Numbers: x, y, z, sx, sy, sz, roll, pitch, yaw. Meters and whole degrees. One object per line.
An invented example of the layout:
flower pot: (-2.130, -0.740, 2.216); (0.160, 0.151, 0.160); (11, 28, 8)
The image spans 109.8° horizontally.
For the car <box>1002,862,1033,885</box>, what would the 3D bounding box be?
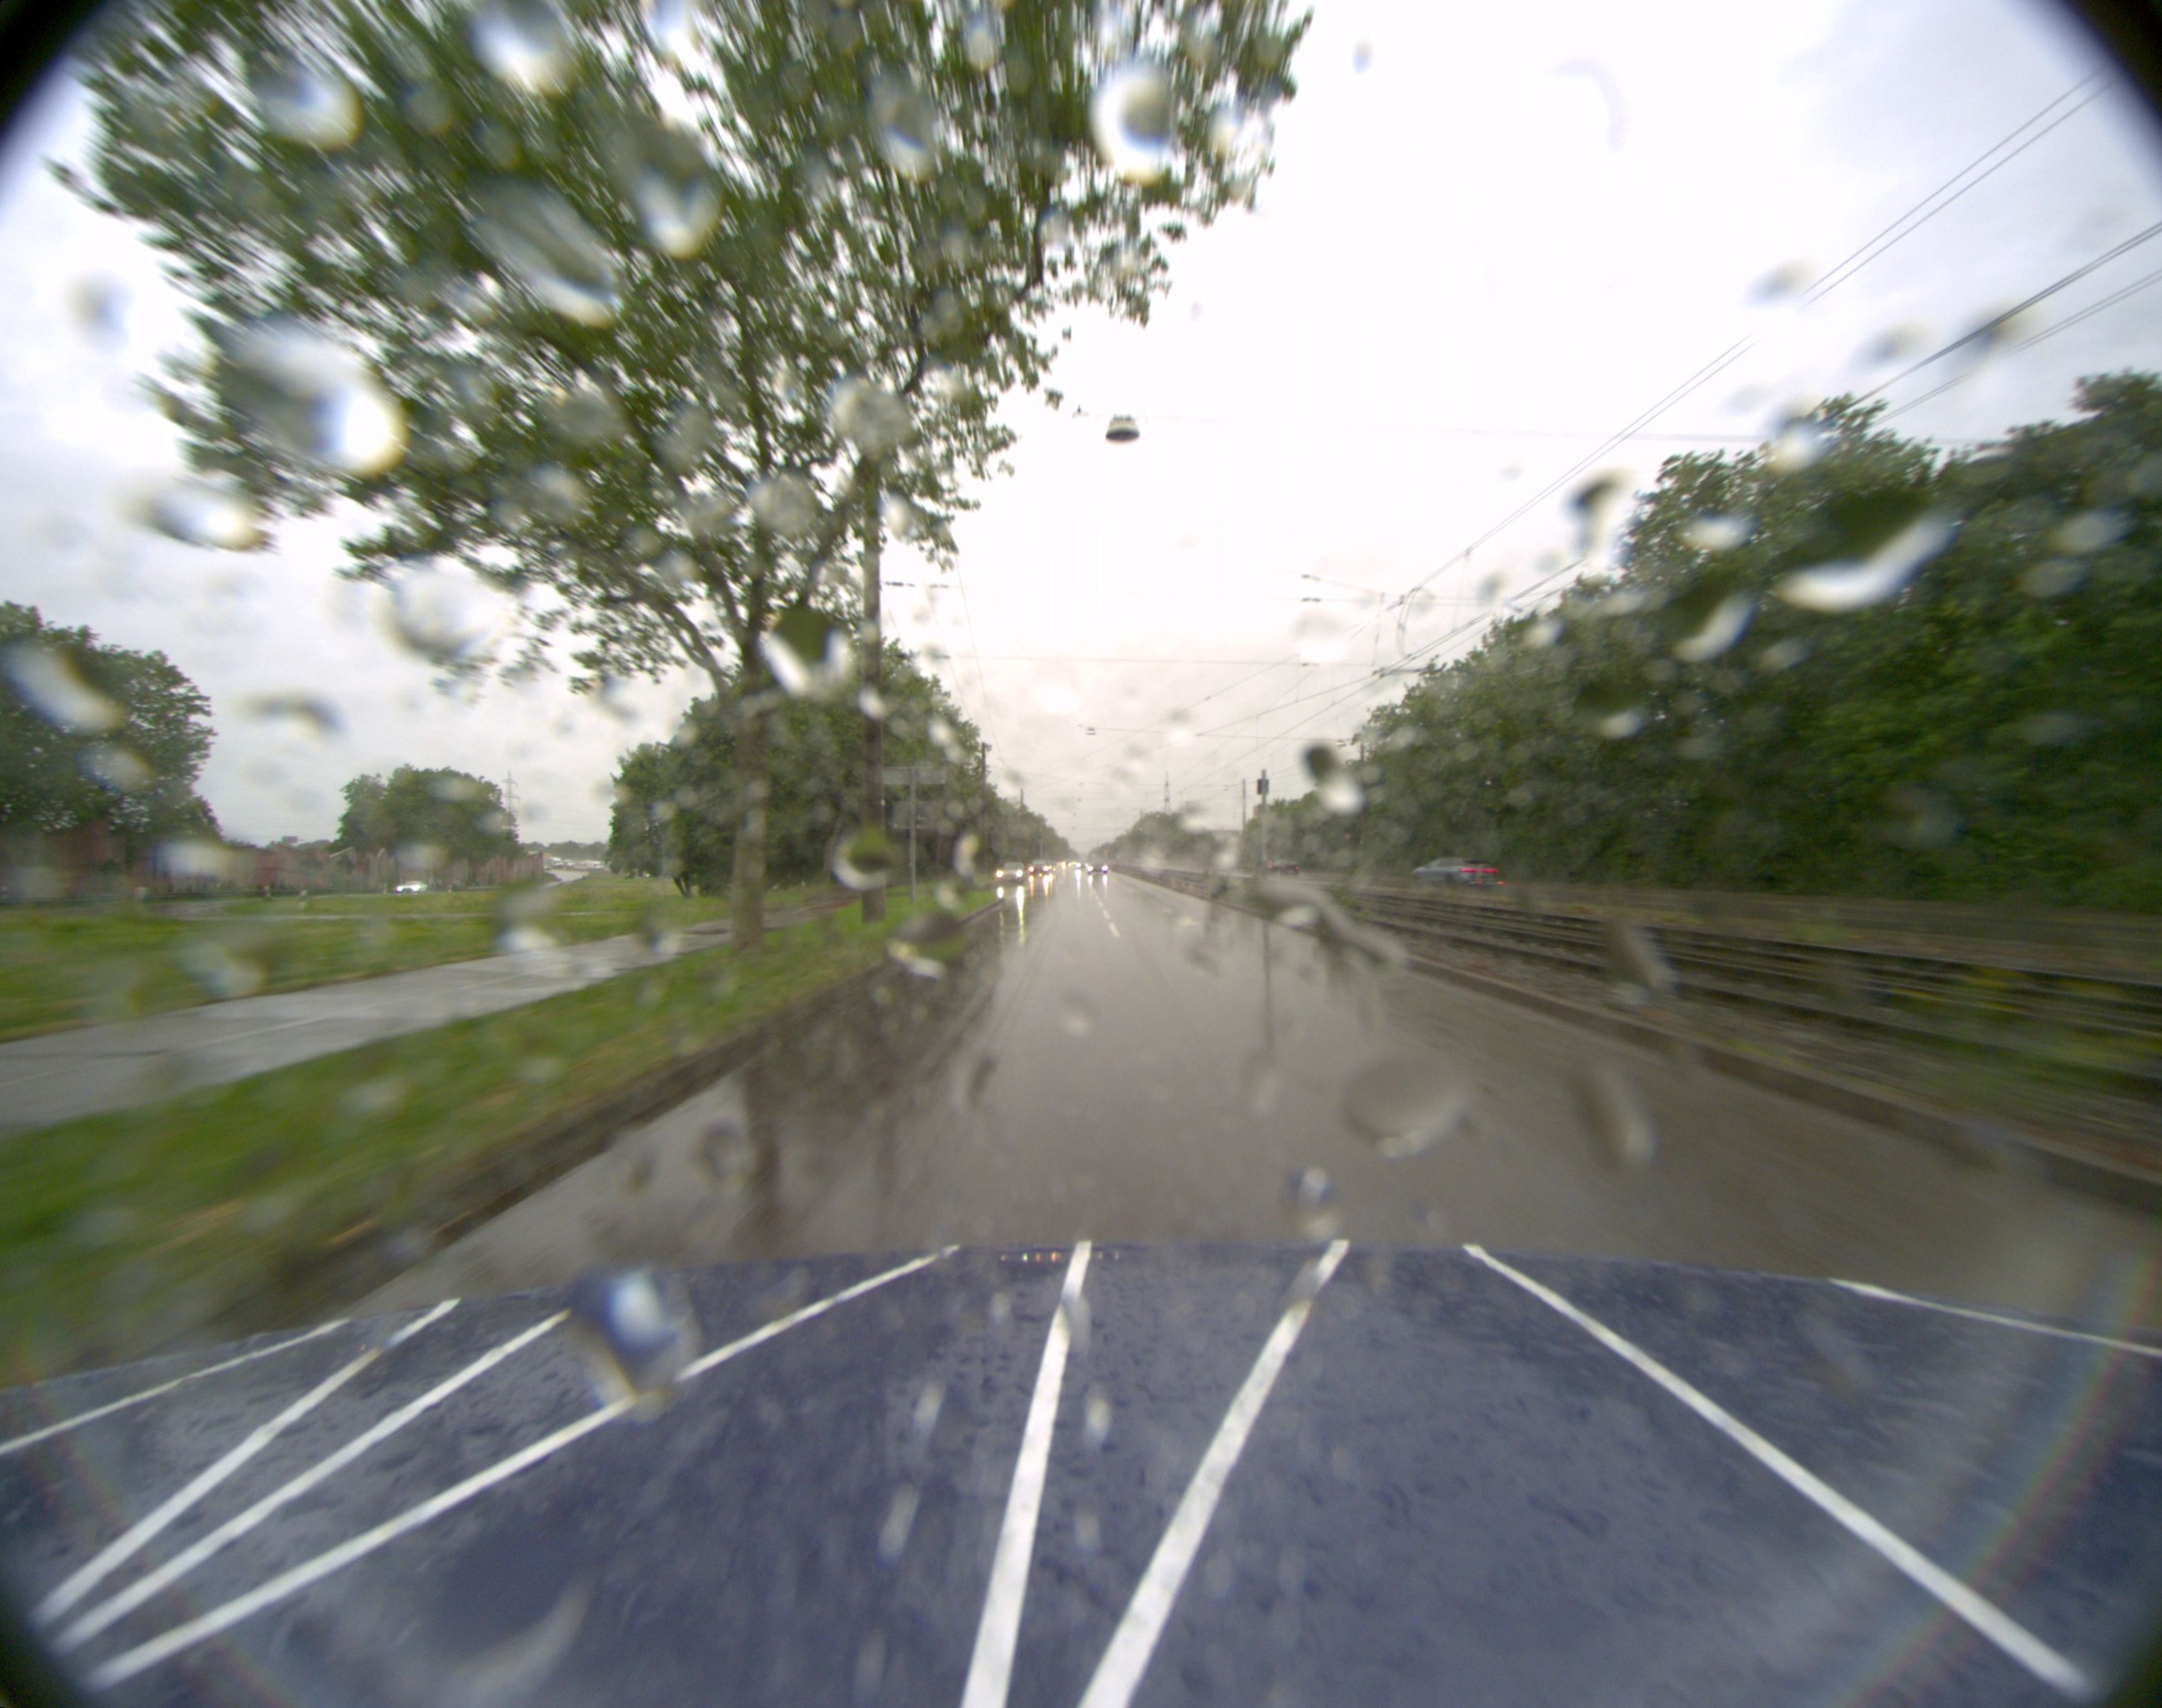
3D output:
car: (-4.108, 1.246, 49.740); (1.751, 1.412, 3.999); (0, 0, -1)

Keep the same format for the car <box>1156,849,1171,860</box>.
car: (15.072, 0.171, 139.029); (1.999, 1.772, 3.999); (-5, 0, -1)

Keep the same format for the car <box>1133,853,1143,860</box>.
car: (13.693, 0.542, 183.325); (1.999, 1.662, 4.871); (-1, 0, -2)

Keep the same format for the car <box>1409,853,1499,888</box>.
car: (17.413, 0.736, 35.772); (1.695, 1.514, 4.954); (-1, 0, -2)

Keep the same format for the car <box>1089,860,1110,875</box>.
car: (1.827, 1.384, 76.481); (1.971, 1.412, 3.999); (0, 0, -1)

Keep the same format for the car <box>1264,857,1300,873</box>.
car: (17.173, 0.901, 64.982); (1.776, 1.322, 4.379); (-1, 0, -2)

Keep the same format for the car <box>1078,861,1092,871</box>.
car: (0.544, 1.681, 107.240); (1.971, 1.412, 3.999); (0, 0, -1)

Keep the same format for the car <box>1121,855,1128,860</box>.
car: (13.223, 1.041, 232.362); (1.846, 1.565, 4.384); (-1, 0, -1)
